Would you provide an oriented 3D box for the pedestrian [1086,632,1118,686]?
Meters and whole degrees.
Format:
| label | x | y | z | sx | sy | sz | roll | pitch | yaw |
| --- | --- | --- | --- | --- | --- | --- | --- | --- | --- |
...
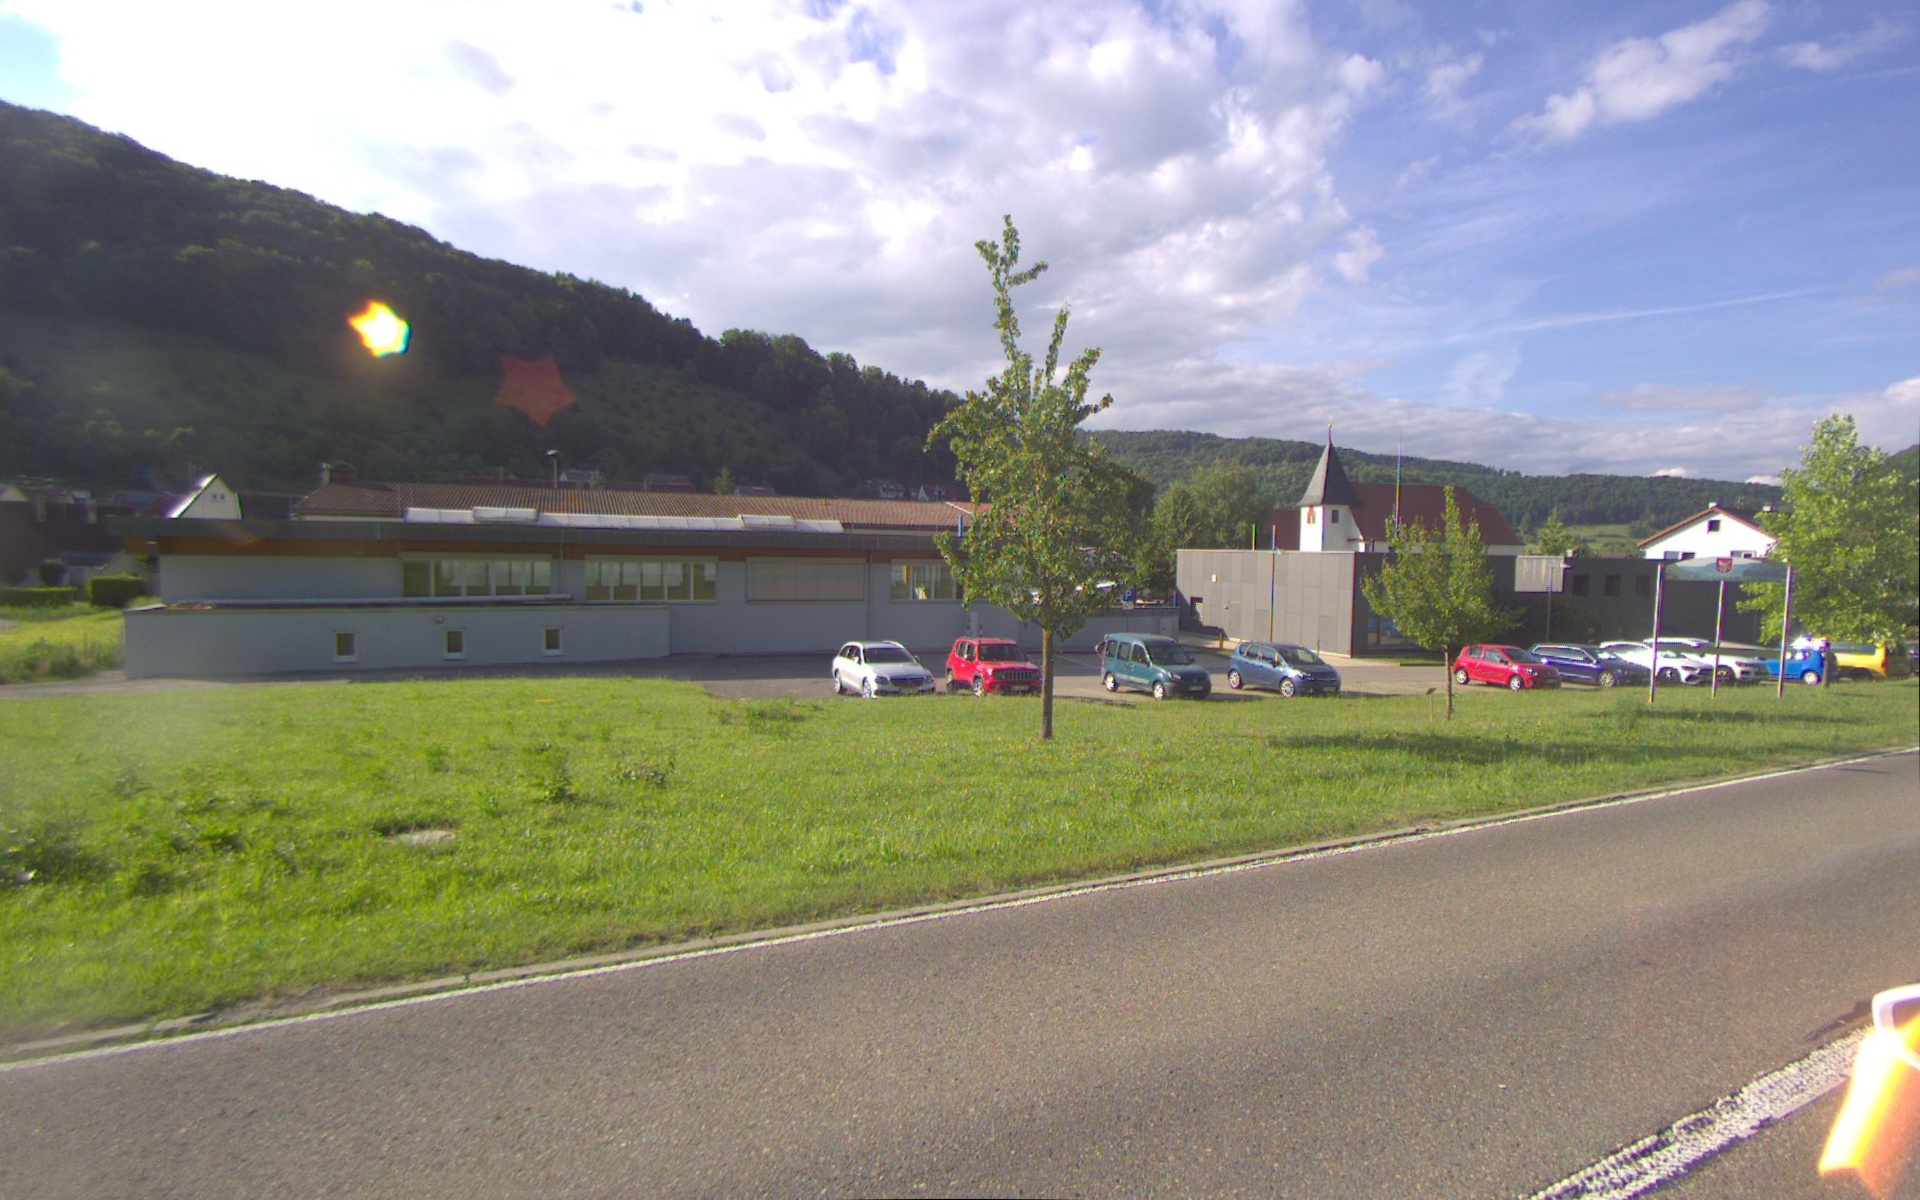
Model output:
| label | x | y | z | sx | sy | sz | roll | pitch | yaw |
| --- | --- | --- | --- | --- | --- | --- | --- | --- | --- |
| pedestrian | 4.719 | 1.954 | 33.479 | 0.695 | 1.716 | 0.792 | 2 | 1 | -24 |

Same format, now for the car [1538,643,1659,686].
| label | x | y | z | sx | sy | sz | roll | pitch | yaw |
| --- | --- | --- | --- | --- | --- | --- | --- | --- | --- |
| car | 23.874 | 2.388 | 37.698 | 1.573 | 1.424 | 3.619 | 0 | -1 | -21 |

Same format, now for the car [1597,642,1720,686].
| label | x | y | z | sx | sy | sz | roll | pitch | yaw |
| --- | --- | --- | --- | --- | --- | --- | --- | --- | --- |
| car | 26.899 | 2.437 | 38.807 | 1.573 | 1.513 | 3.661 | 0 | -1 | -21 |

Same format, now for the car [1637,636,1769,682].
| label | x | y | z | sx | sy | sz | roll | pitch | yaw |
| --- | --- | --- | --- | --- | --- | --- | --- | --- | --- |
| car | 29.771 | 2.336 | 40.395 | 1.573 | 1.695 | 4.071 | 1 | -1 | -20 |

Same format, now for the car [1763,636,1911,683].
| label | x | y | z | sx | sy | sz | roll | pitch | yaw |
| --- | --- | --- | --- | --- | --- | --- | --- | --- | --- |
| car | 37.773 | 2.510 | 43.408 | 1.813 | 1.839 | 4.546 | 1 | -1 | -20 |

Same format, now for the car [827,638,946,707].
| label | x | y | z | sx | sy | sz | roll | pitch | yaw |
| --- | --- | --- | --- | --- | --- | --- | --- | --- | --- |
| car | -2.118 | 1.903 | 27.537 | 1.971 | 1.610 | 4.632 | 1 | -1 | -21 |

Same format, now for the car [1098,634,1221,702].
| label | x | y | z | sx | sy | sz | roll | pitch | yaw |
| --- | --- | --- | --- | --- | --- | --- | --- | --- | --- |
| car | 5.905 | 1.979 | 30.227 | 1.731 | 1.745 | 3.852 | 1 | 0 | -23 |

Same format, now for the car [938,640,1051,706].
| label | x | y | z | sx | sy | sz | roll | pitch | yaw |
| --- | --- | --- | --- | --- | --- | --- | --- | --- | --- |
| car | 0.873 | 1.967 | 28.082 | 1.730 | 1.600 | 3.912 | 1 | -1 | -21 |

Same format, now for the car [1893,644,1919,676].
| label | x | y | z | sx | sy | sz | roll | pitch | yaw |
| --- | --- | --- | --- | --- | --- | --- | --- | --- | --- |
| car | 46.784 | 2.883 | 47.479 | 1.487 | 1.458 | 3.707 | 1 | -1 | -20 |

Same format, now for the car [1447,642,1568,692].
| label | x | y | z | sx | sy | sz | roll | pitch | yaw |
| --- | --- | --- | --- | --- | --- | --- | --- | --- | --- |
| car | 19.397 | 2.328 | 35.741 | 1.623 | 1.463 | 3.619 | 0 | 1 | -21 |

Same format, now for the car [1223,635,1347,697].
| label | x | y | z | sx | sy | sz | roll | pitch | yaw |
| --- | --- | --- | --- | --- | --- | --- | --- | --- | --- |
| car | 10.187 | 2.035 | 31.790 | 1.707 | 1.744 | 3.811 | 1 | -1 | -21 |

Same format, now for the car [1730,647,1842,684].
| label | x | y | z | sx | sy | sz | roll | pitch | yaw |
| --- | --- | --- | --- | --- | --- | --- | --- | --- | --- |
| car | 35.192 | 2.761 | 42.859 | 1.640 | 1.392 | 3.356 | 1 | -1 | -28 |
